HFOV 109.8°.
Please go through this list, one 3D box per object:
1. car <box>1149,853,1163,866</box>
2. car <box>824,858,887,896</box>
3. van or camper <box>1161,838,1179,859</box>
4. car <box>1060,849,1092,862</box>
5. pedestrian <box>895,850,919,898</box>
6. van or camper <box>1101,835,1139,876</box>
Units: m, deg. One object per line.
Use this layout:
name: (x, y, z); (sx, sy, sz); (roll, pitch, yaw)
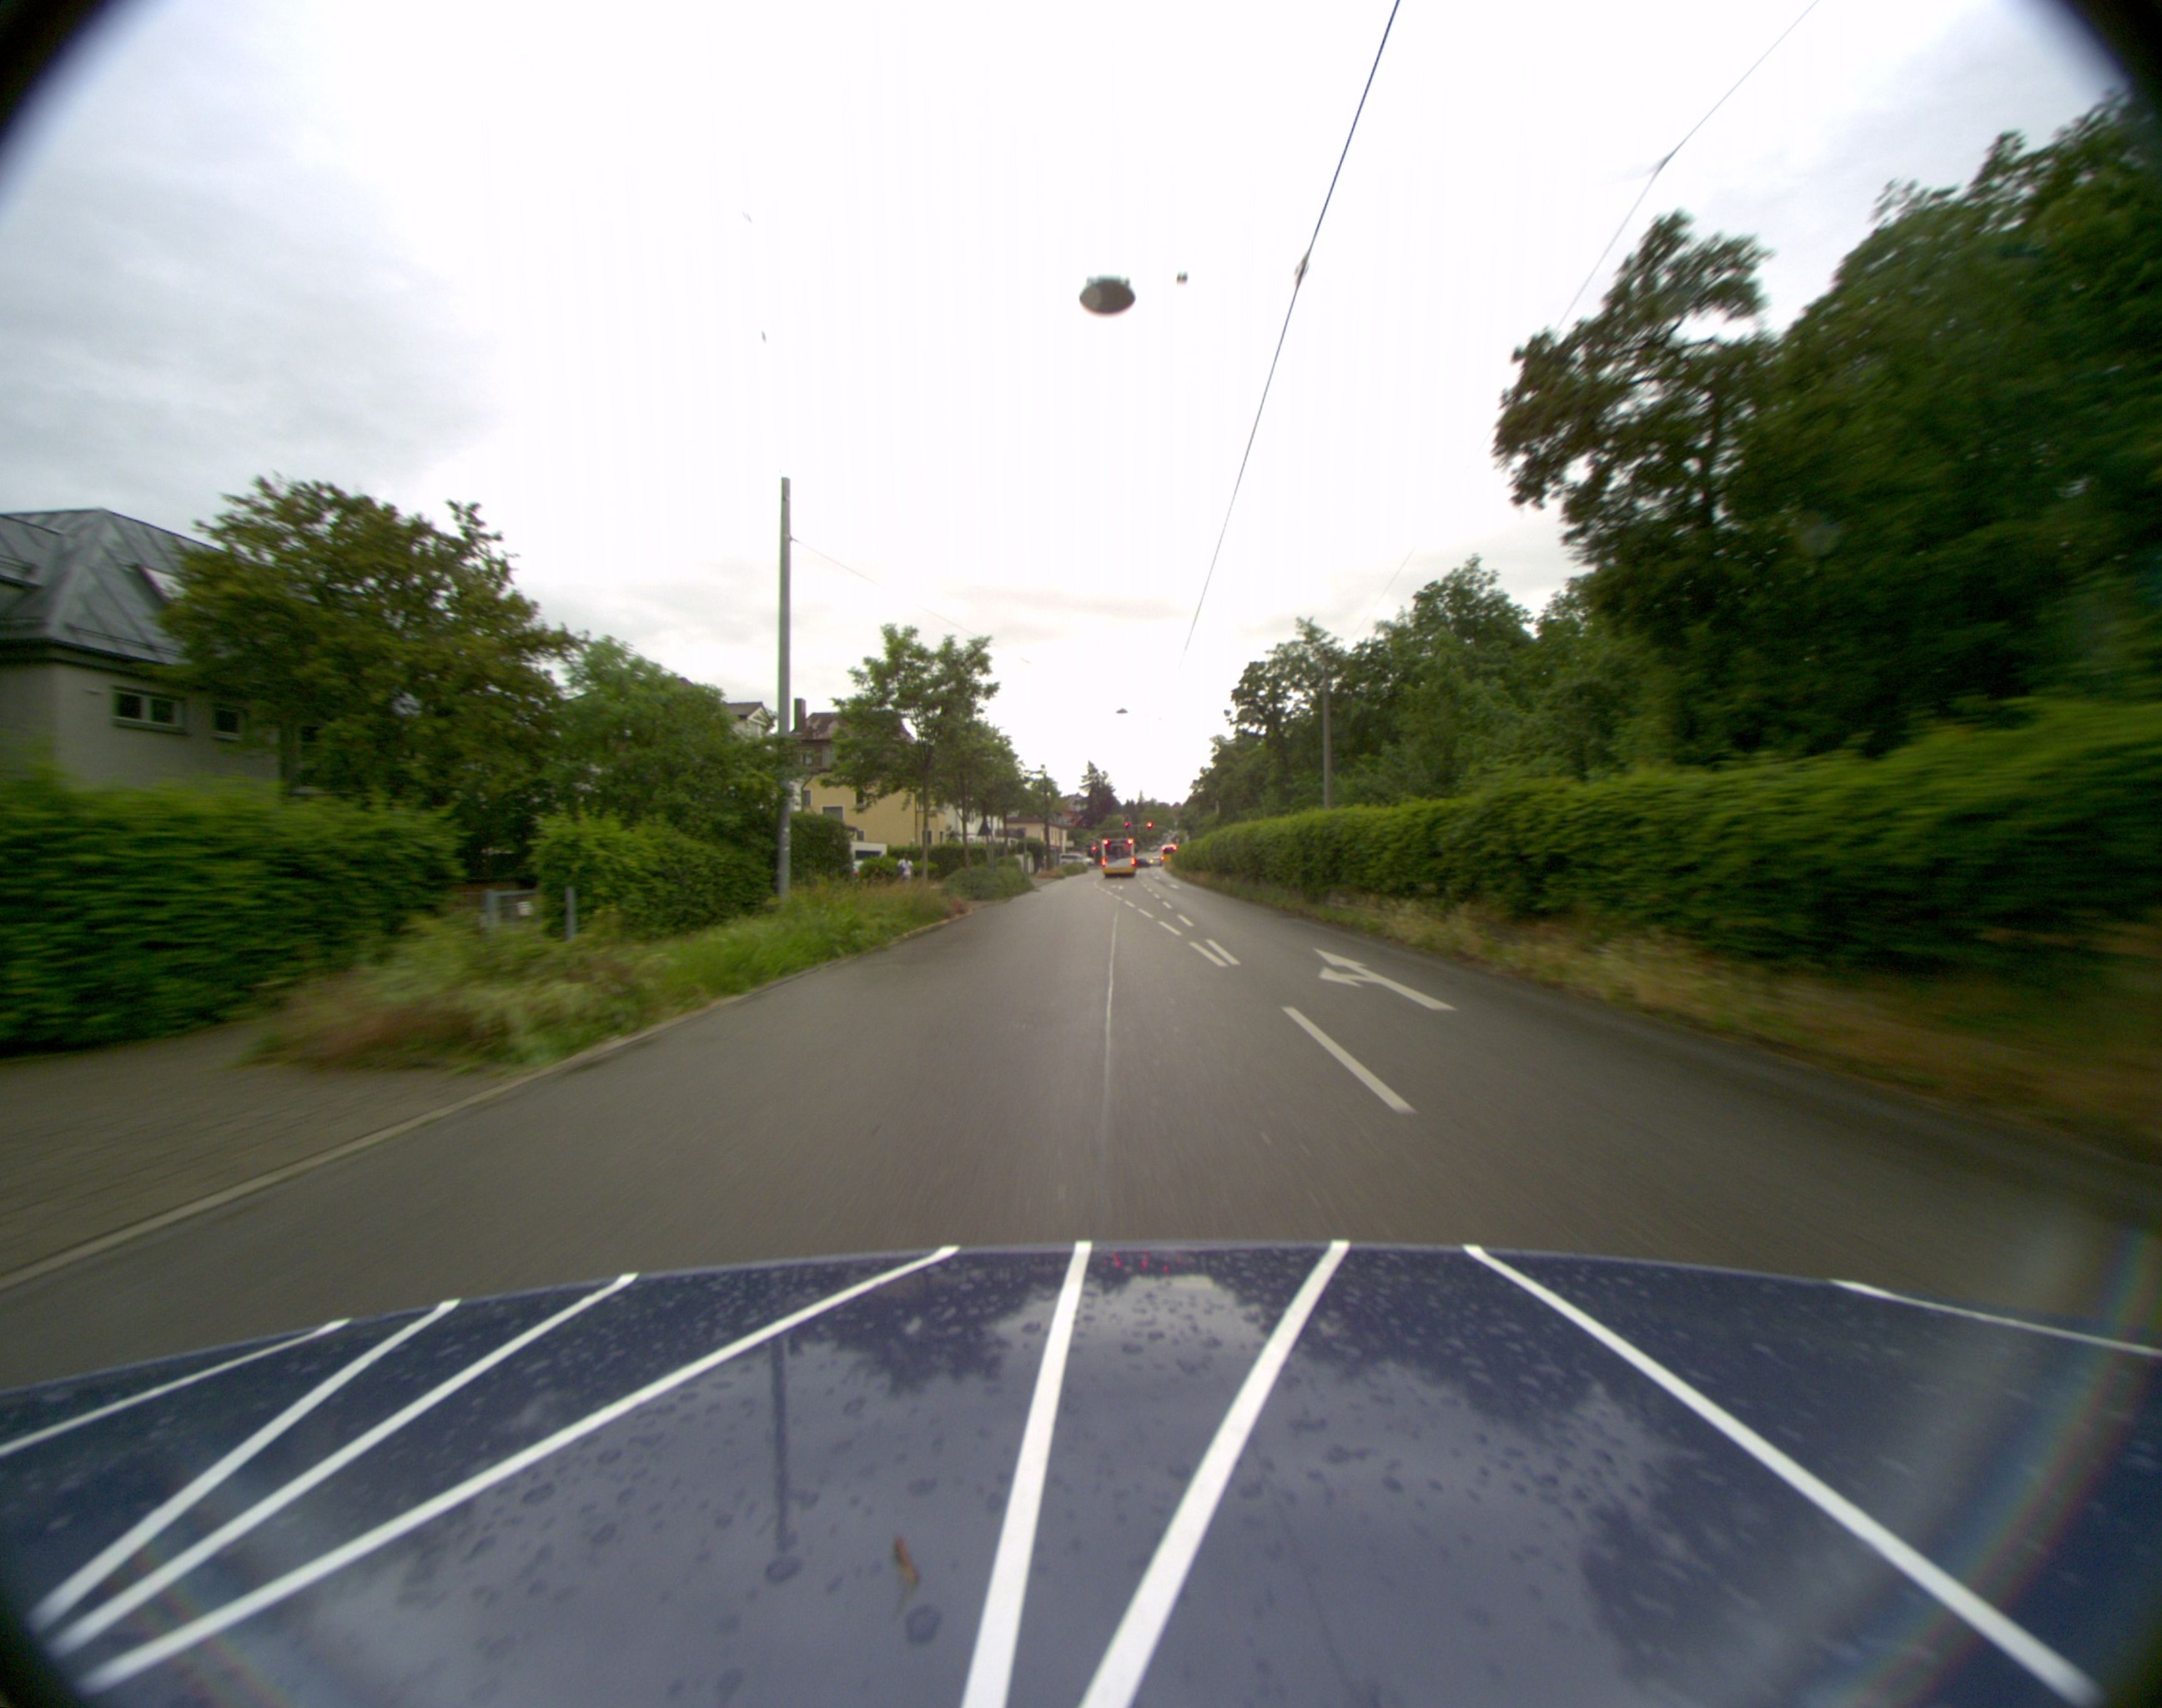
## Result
car: (11.727, 0.879, 118.321); (1.783, 1.878, 3.791); (-2, 0, 9)
car: (-9.533, 0.944, 32.403); (1.473, 1.411, 3.476); (-2, 0, 3)
van or camper: (14.809, -0.886, 126.101); (2.736, 3.208, 6.979); (-2, 0, 8)
car: (-0.825, 0.216, 124.640); (5.048, 1.967, 2.001); (-2, 1, 7)
pedestrian: (-6.438, 0.723, 28.093); (0.634, 1.722, 0.714); (-1, 2, 4)
van or camper: (3.330, 0.118, 63.496); (2.862, 3.160, 6.852); (-2, 0, 4)
